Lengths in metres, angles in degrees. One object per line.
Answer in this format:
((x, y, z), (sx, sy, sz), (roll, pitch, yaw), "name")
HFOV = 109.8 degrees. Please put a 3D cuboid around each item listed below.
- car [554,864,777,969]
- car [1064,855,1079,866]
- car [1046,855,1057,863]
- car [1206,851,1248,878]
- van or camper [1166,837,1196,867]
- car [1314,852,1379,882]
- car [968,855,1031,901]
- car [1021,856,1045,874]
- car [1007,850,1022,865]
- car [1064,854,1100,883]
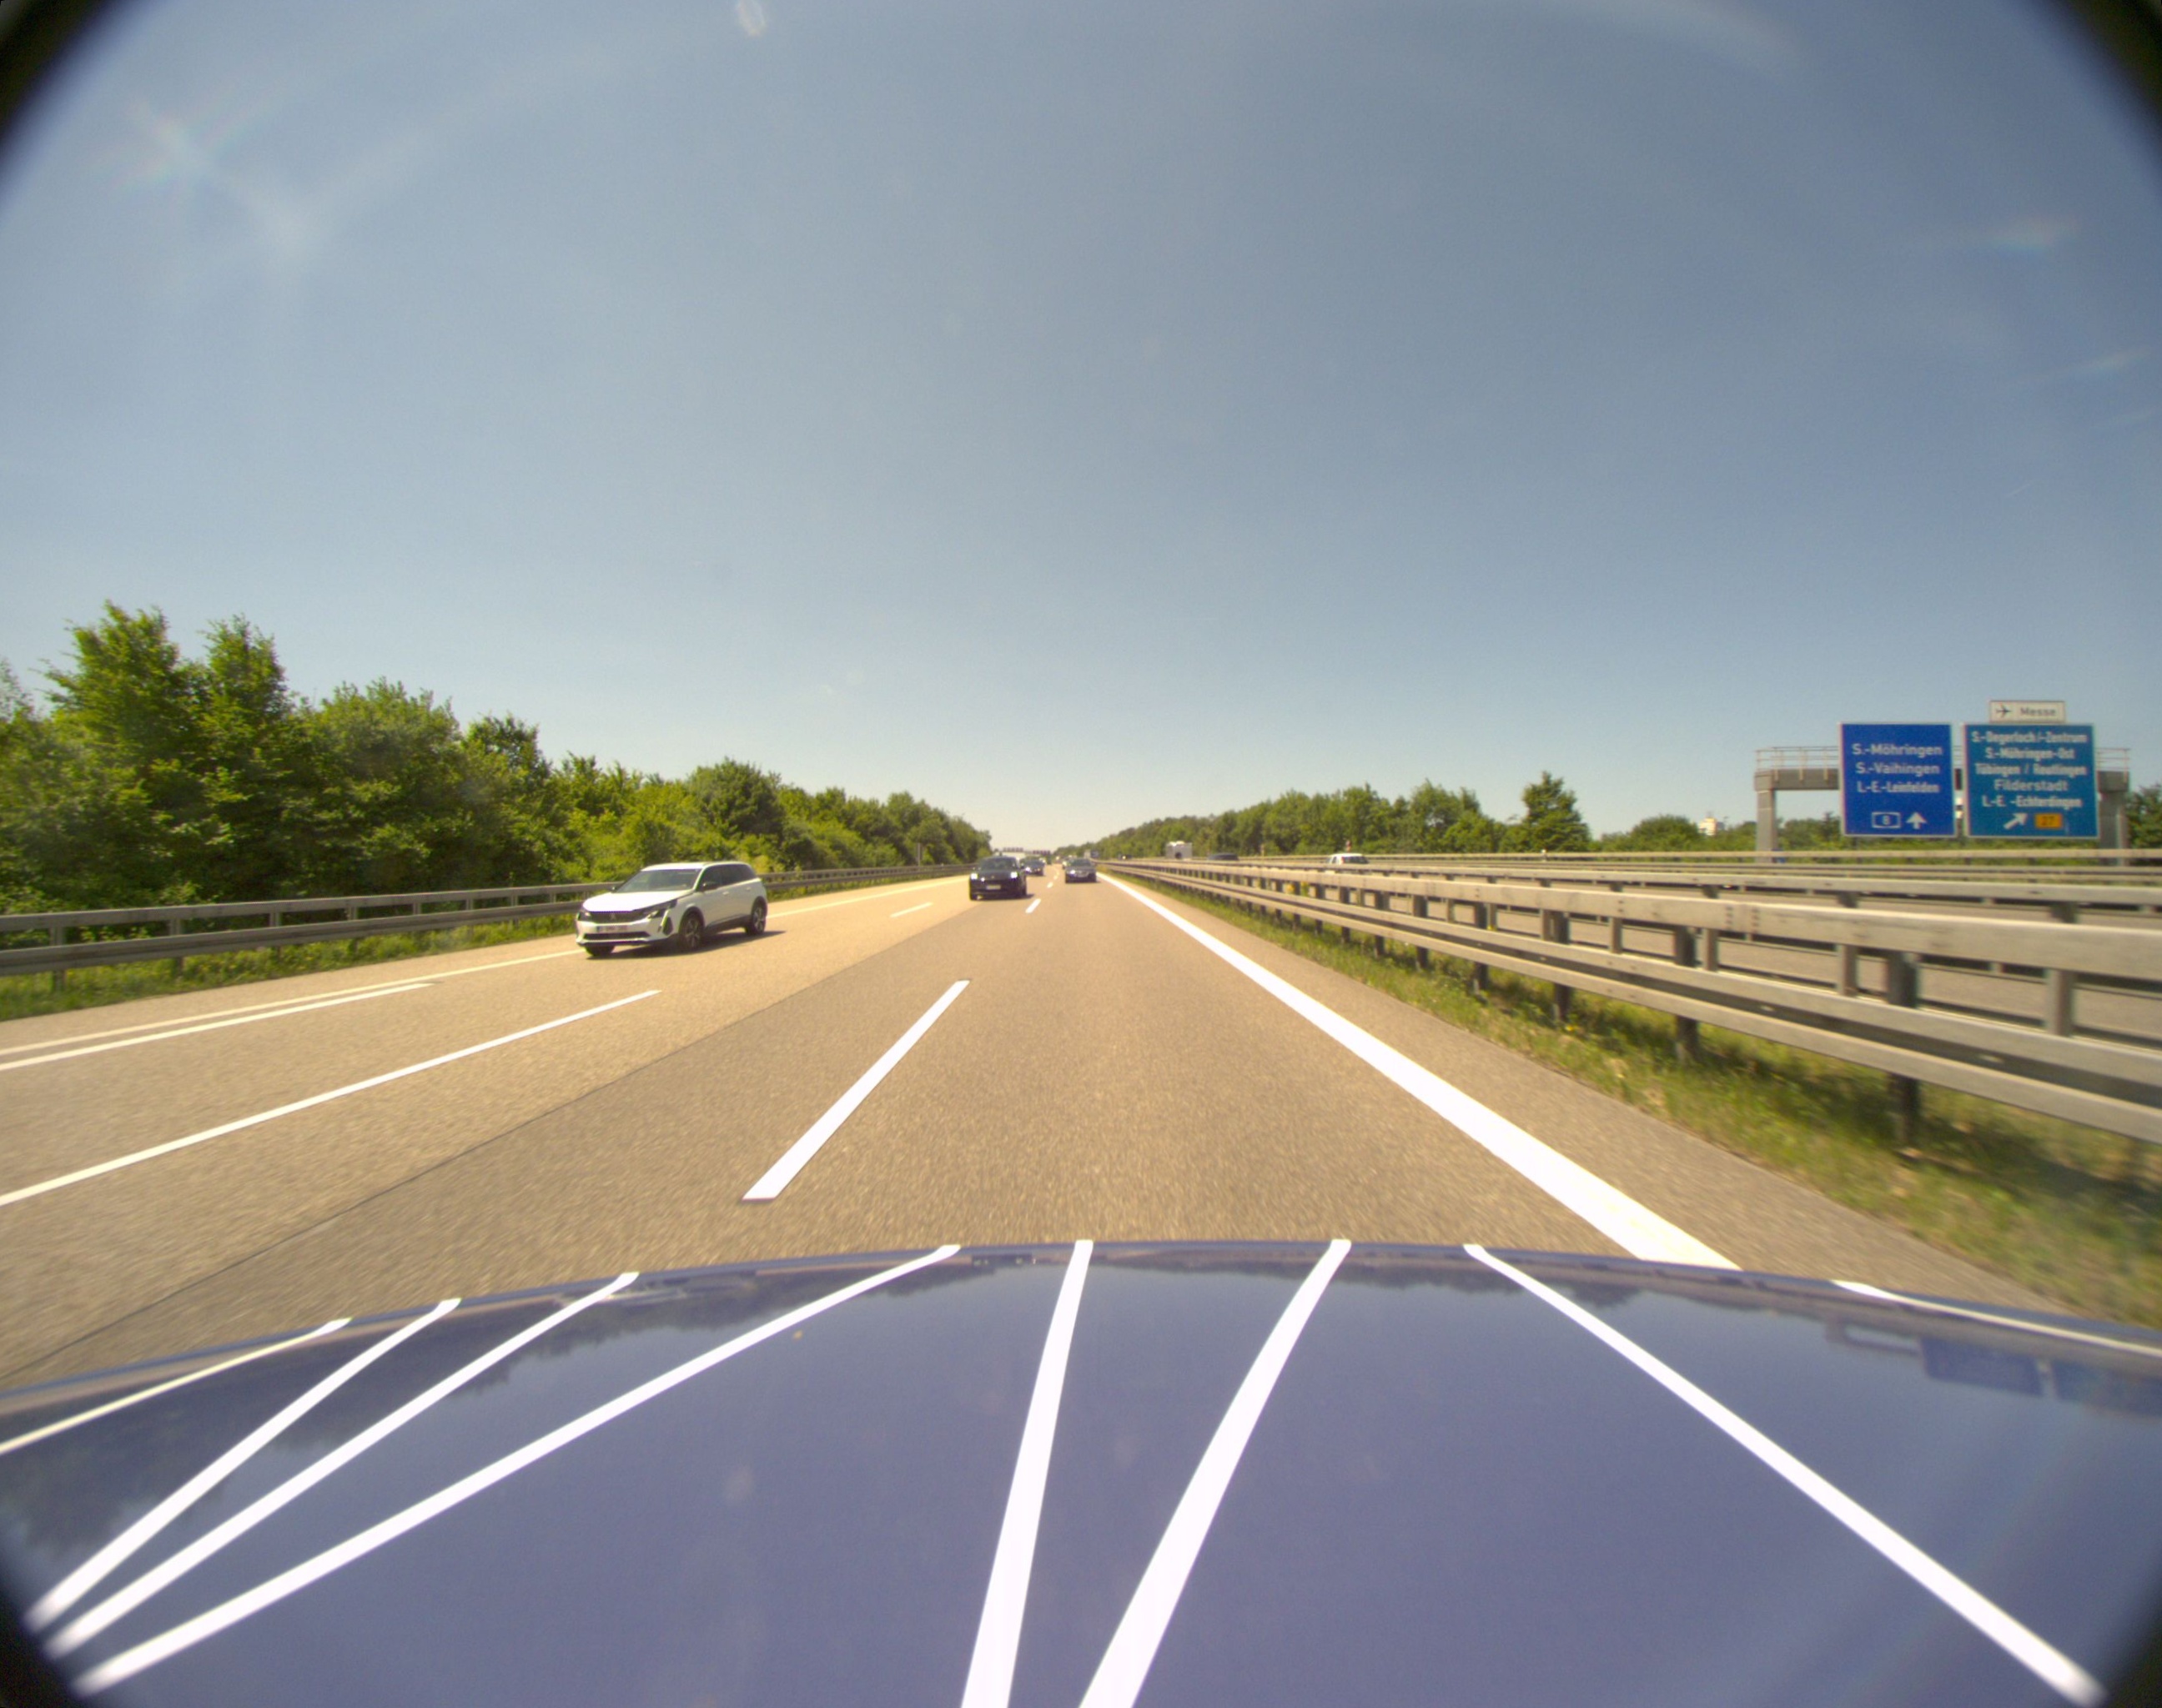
((-7.810, 1.071, 14.908), (1.748, 1.582, 4.619), (-2, 1, 0), "car")
((-1.271, 0.842, 105.917), (1.931, 1.390, 4.117), (-2, 1, 1), "car")
((-7.281, 1.226, 186.940), (2.000, 1.849, 3.996), (-2, 1, -10), "car")
((9.033, 0.605, 47.369), (1.753, 1.577, 4.690), (-1, 0, 0), "car")
((11.426, -0.220, 87.498), (2.319, 3.292, 6.831), (-2, 0, -1), "van or camper")
((13.117, 0.607, 37.808), (1.753, 1.377, 4.097), (-2, 0, -1), "car")
((-3.085, 0.864, 29.614), (1.931, 1.586, 4.131), (-2, 1, 0), "car")
((-4.178, 0.961, 66.326), (1.932, 1.390, 4.116), (-2, 1, -2), "car")
((-9.188, 0.493, 105.583), (1.809, 1.908, 4.293), (-2, 1, -2), "car")
((0.124, 0.801, 44.604), (1.931, 1.499, 4.391), (-2, 1, 2), "car")
